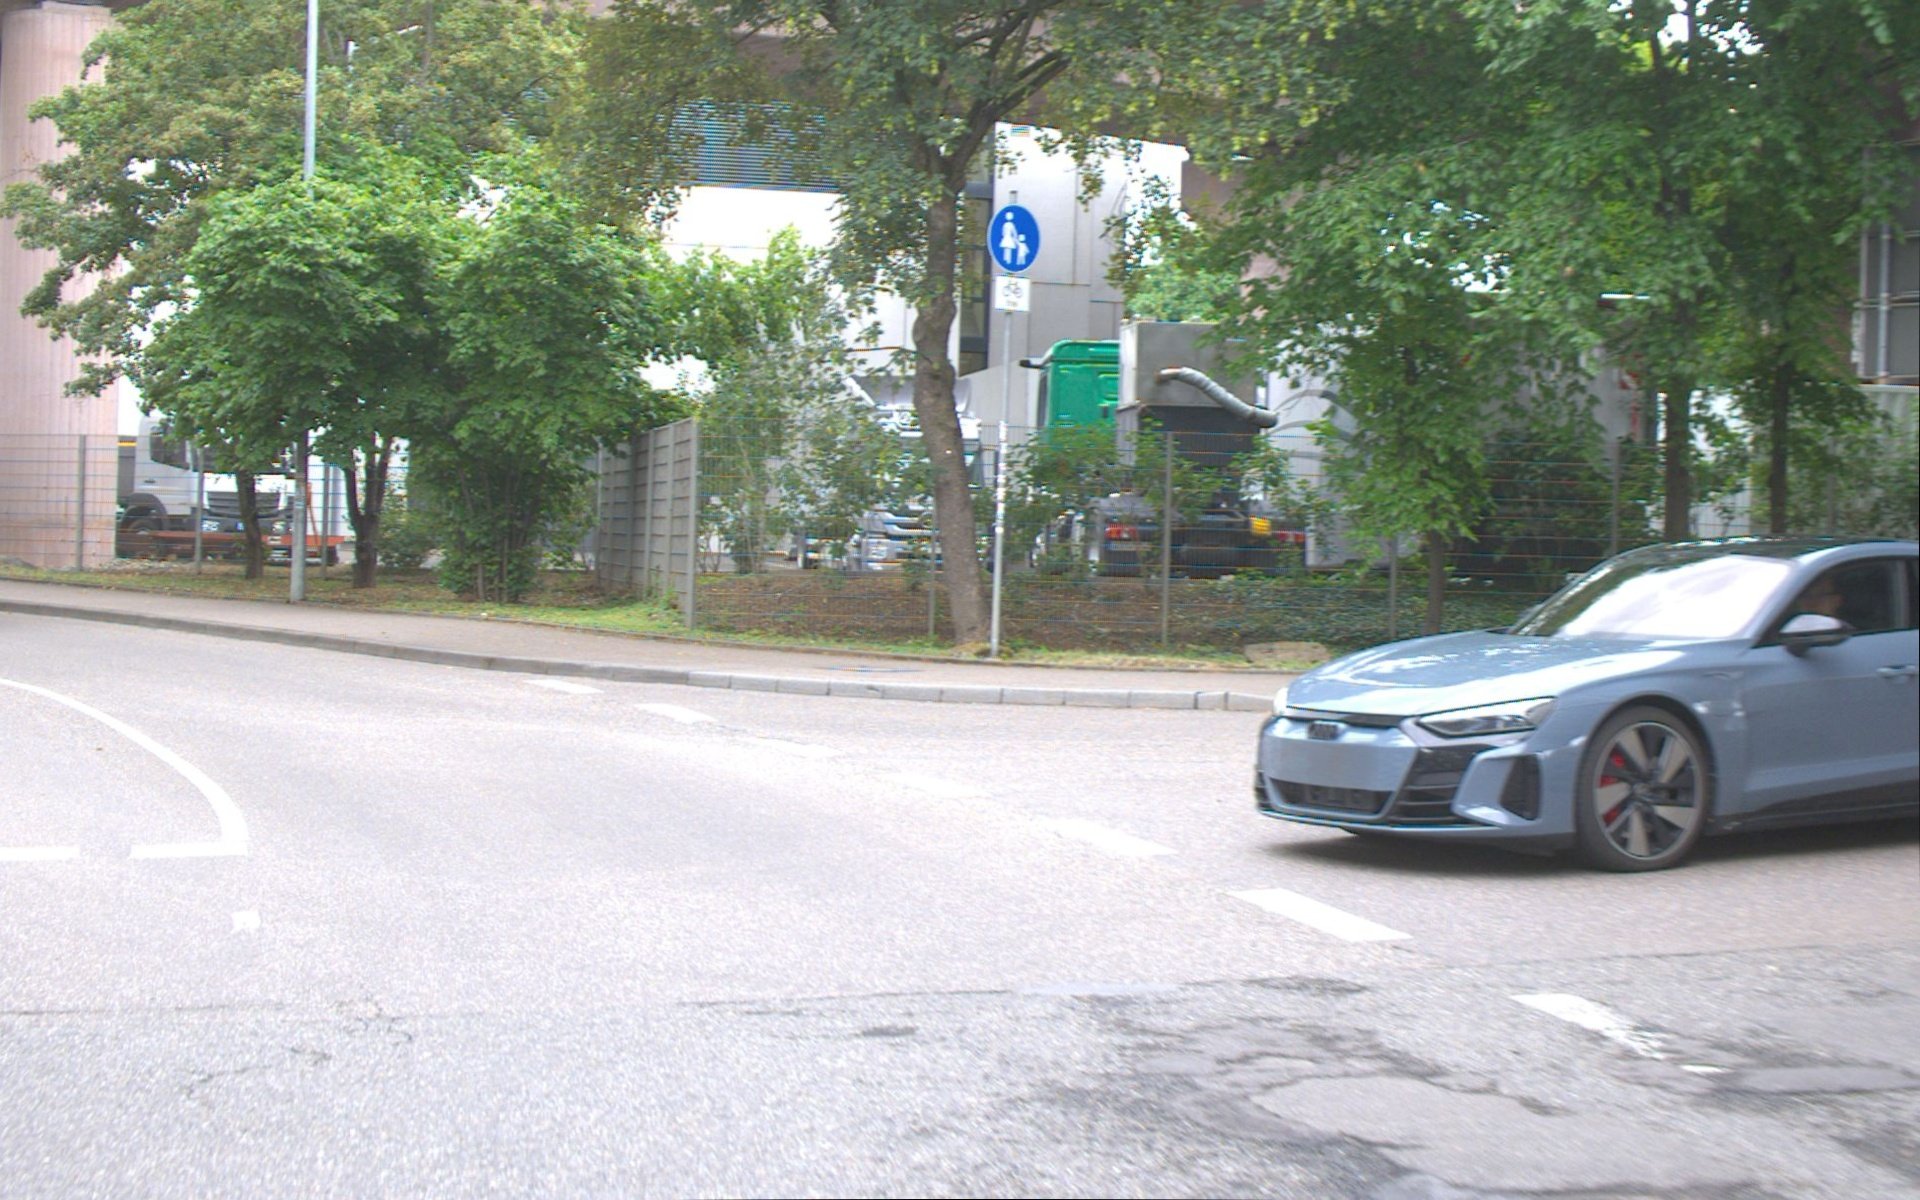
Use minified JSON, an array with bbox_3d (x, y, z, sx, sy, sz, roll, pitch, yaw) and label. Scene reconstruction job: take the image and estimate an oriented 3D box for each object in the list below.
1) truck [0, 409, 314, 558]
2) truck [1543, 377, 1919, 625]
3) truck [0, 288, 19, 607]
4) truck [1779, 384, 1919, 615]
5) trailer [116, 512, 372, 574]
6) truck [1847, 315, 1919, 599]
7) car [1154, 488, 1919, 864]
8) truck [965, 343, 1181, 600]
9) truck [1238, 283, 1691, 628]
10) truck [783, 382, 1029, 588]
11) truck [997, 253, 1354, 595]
[{"bbox_3d":[-15.230,-2.097,61.876,7.221,2.543,2.719,2,2,34],"label":"truck"},{"bbox_3d":[9.935,-1.306,43.455,2.914,2.889,6.561,0,3,-11],"label":"truck"},{"bbox_3d":[-13.854,-1.781,39.973,2.927,3.469,8.244,-2,3,-35],"label":"truck"},{"bbox_3d":[13.291,-1.306,44.155,2.914,2.889,6.561,0,3,-11],"label":"truck"},{"bbox_3d":[-11.448,-0.934,54.581,2.149,0.740,6.295,-3,4,-29],"label":"trailer"},{"bbox_3d":[16.146,-2.107,50.959,3.065,4.284,8.051,0,3,-6],"label":"truck"},{"bbox_3d":[3.549,0.275,15.876,4.916,1.496,2.174,0,1,-31],"label":"car"},{"bbox_3d":[2.116,-2.586,68.189,3.202,4.763,8.051,0,3,-6],"label":"truck"},{"bbox_3d":[6.014,-1.809,42.676,3.065,3.854,8.051,0,3,-11],"label":"truck"},{"bbox_3d":[-1.146,-2.242,64.965,3.054,3.606,7.919,0,3,-13],"label":"truck"},{"bbox_3d":[2.554,-2.179,43.444,3.065,3.949,6.926,0,2,-9],"label":"truck"}]
